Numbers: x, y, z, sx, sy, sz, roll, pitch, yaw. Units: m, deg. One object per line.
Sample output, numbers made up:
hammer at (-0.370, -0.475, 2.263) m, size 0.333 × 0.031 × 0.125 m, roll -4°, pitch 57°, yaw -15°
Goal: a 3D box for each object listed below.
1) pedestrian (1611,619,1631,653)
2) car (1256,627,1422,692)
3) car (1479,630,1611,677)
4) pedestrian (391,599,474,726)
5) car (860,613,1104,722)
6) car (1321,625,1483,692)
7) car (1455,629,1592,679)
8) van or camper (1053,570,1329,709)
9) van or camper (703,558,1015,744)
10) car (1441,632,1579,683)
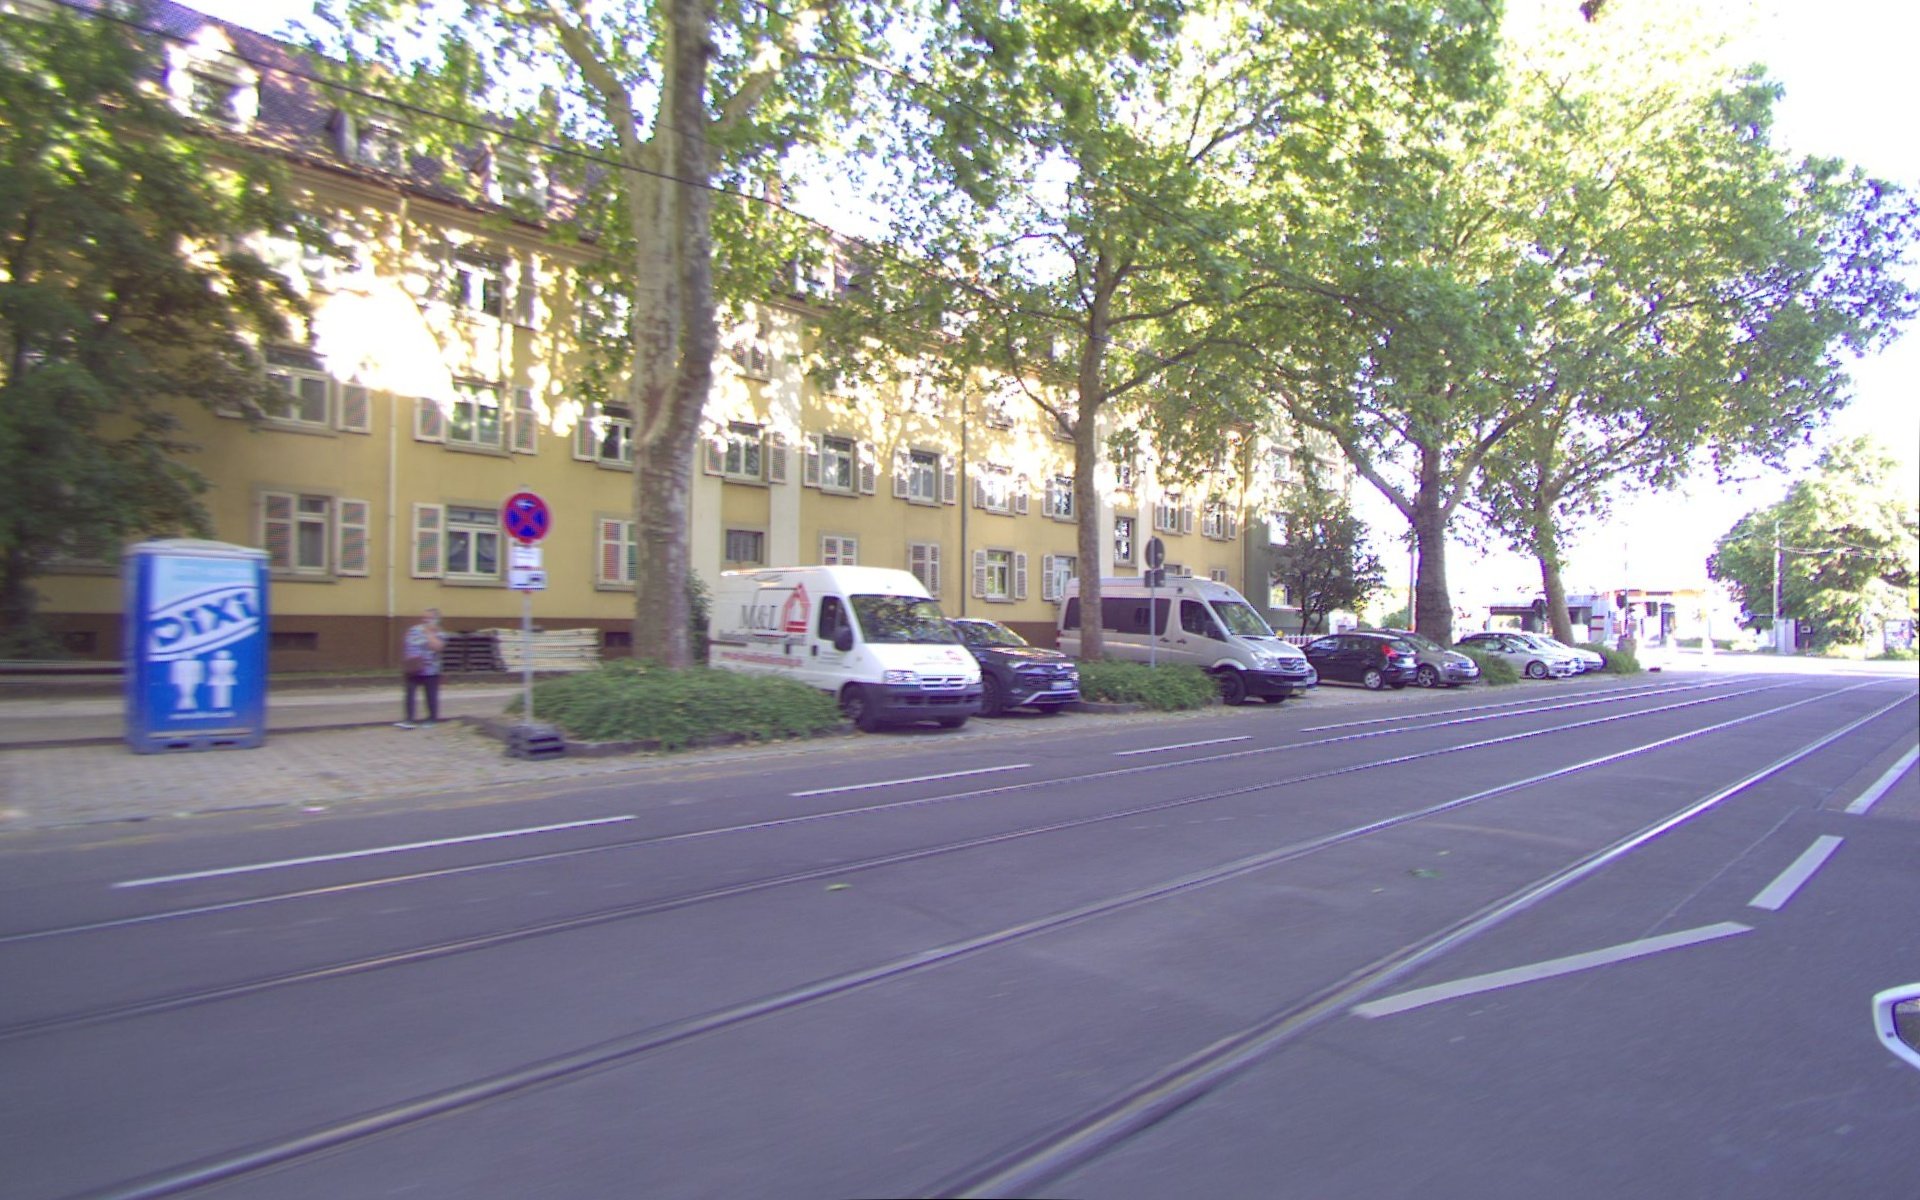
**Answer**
pedestrian at (45.286, 2.449, 68.836) m, size 0.805 × 2.250 × 0.900 m, roll 2°, pitch 0°, yaw 13°
car at (10.375, 1.584, 27.692) m, size 3.945 × 1.535 × 1.640 m, roll 1°, pitch -1°, yaw 44°
car at (22.832, 2.051, 39.269) m, size 4.125 × 1.693 × 1.953 m, roll -1°, pitch -2°, yaw 45°
pedestrian at (-7.120, 0.818, 13.549) m, size 0.879 × 1.634 × 0.756 m, roll 2°, pitch 0°, yaw -35°
car at (0.302, 1.099, 17.837) m, size 4.125 × 1.693 × 1.953 m, roll 0°, pitch -2°, yaw 45°
car at (12.669, 1.642, 28.956) m, size 1.637 × 1.673 × 3.951 m, roll 2°, pitch -1°, yaw -41°
car at (21.021, 1.984, 37.583) m, size 4.125 × 1.693 × 1.953 m, roll 0°, pitch -2°, yaw 45°
van or camper at (4.923, 0.762, 22.238) m, size 2.253 × 2.679 × 5.671 m, roll 2°, pitch -1°, yaw -42°
van or camper at (-1.814, 0.666, 15.871) m, size 2.250 × 2.411 × 5.457 m, roll 2°, pitch -1°, yaw -39°
car at (19.282, 1.977, 35.328) m, size 1.637 × 1.535 × 3.951 m, roll 2°, pitch -1°, yaw -41°
